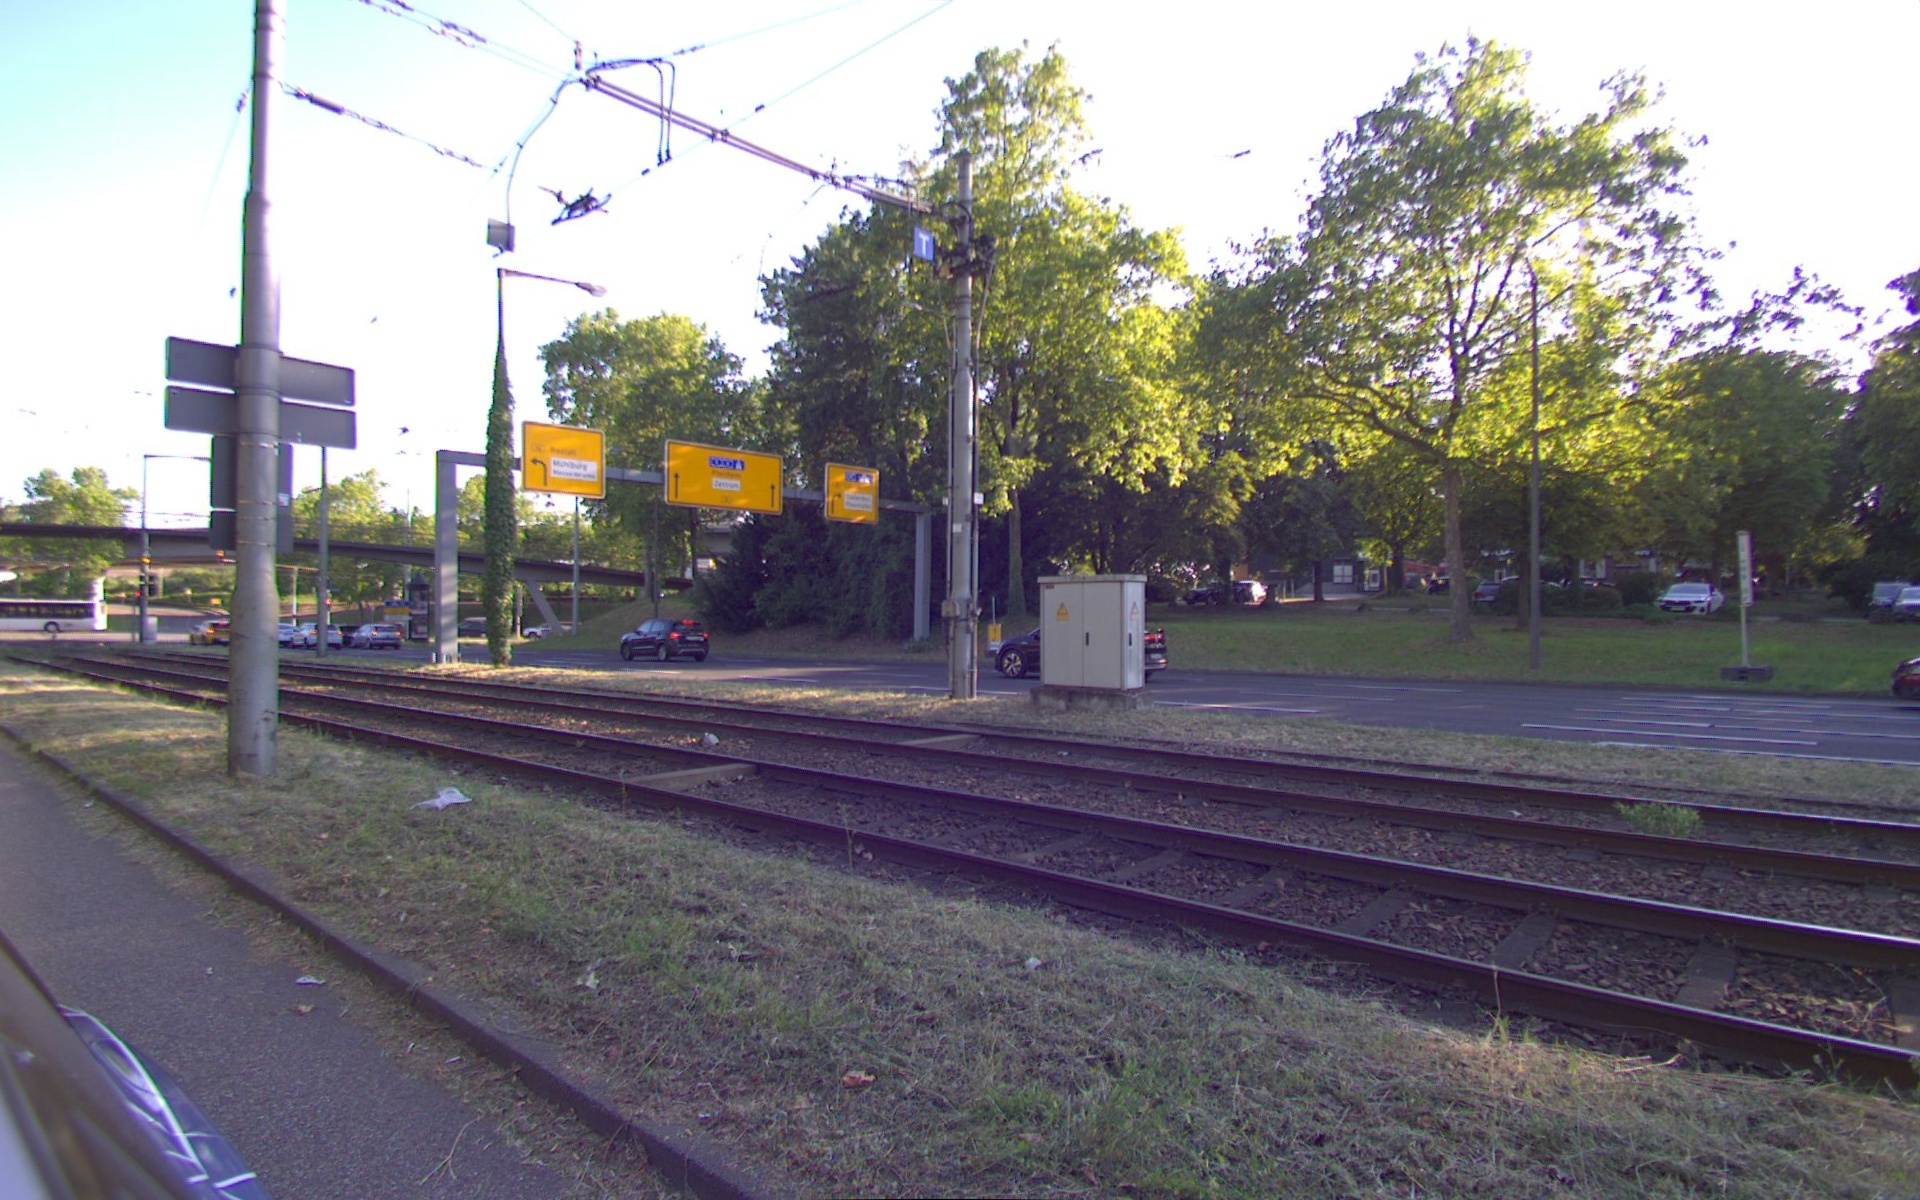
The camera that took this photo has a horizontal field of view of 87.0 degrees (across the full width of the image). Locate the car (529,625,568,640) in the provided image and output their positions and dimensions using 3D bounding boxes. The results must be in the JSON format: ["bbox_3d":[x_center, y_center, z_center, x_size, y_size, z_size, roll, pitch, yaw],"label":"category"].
[{"bbox_3d":[-45.207,3.542,111.133,3.810,1.421,1.817,-1,0,-30],"label":"car"}]

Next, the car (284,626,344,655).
[{"bbox_3d":[-35.735,2.205,55.952,3.997,1.556,1.744,-1,-1,40],"label":"car"}]

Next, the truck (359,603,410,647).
[{"bbox_3d":[-40.296,1.742,70.764,2.248,2.901,6.895,0,-1,-37],"label":"truck"}]

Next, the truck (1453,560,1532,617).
[{"bbox_3d":[31.750,-0.676,60.278,2.503,3.191,6.137,0,0,45],"label":"truck"}]

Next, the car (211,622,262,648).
[{"bbox_3d":[-45.831,2.183,64.041,4.228,1.561,1.892,-1,-2,44],"label":"car"}]

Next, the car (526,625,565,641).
[{"bbox_3d":[-43.957,3.495,107.310,3.747,1.591,1.683,-1,0,-26],"label":"car"}]

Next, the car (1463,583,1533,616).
[{"bbox_3d":[26.176,-0.034,49.179,1.942,1.521,4.039,0,0,44],"label":"car"}]

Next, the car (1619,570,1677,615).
[{"bbox_3d":[36.892,-0.388,54.232,2.161,2.320,4.348,0,0,40],"label":"car"}]

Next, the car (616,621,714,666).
[{"bbox_3d":[-10.993,1.591,37.569,3.973,1.569,1.732,-2,-3,44],"label":"car"}]

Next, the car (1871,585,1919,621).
[{"bbox_3d":[43.975,0.107,47.218,3.998,1.628,1.864,-1,0,-43],"label":"car"}]

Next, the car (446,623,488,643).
[{"bbox_3d":[-50.684,3.384,103.967,3.748,1.872,1.682,-1,0,-30],"label":"car"}]

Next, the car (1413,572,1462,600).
[{"bbox_3d":[33.564,-0.981,71.054,2.290,1.864,5.214,-1,1,34],"label":"car"}]

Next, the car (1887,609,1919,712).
[{"bbox_3d":[17.704,0.974,15.926,4.298,1.647,1.822,-1,-2,33],"label":"car"}]

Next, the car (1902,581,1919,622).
[{"bbox_3d":[37.586,0.047,38.886,1.942,1.521,4.039,0,0,44],"label":"car"}]

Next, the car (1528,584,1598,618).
[{"bbox_3d":[28.432,0.026,47.650,1.942,1.521,4.039,0,0,44],"label":"car"}]

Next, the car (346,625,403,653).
[{"bbox_3d":[-34.955,2.297,60.409,3.998,1.556,1.789,-1,-1,41],"label":"car"}]

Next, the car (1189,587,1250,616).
[{"bbox_3d":[15.402,0.071,59.951,1.791,1.657,3.942,-1,-1,44],"label":"car"}]

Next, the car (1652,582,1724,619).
[{"bbox_3d":[31.568,0.013,43.838,1.942,1.521,4.039,0,0,44],"label":"car"}]

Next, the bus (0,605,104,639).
[{"bbox_3d":[-84.747,1.967,89.914,12.967,2.884,2.424,-1,0,-29],"label":"bus"}]

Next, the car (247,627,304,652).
[{"bbox_3d":[-40.568,2.321,59.951,4.226,1.435,1.893,-1,-1,42],"label":"car"}]

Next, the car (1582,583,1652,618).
[{"bbox_3d":[30.041,0.017,46.213,1.942,1.521,4.039,0,0,44],"label":"car"}]

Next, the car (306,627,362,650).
[{"bbox_3d":[-39.756,2.424,64.225,4.224,1.435,1.844,-1,-1,40],"label":"car"}]

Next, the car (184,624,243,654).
[{"bbox_3d":[-40.798,2.123,55.252,3.997,1.556,1.744,-1,-1,40],"label":"car"}]

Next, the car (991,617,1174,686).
[{"bbox_3d":[2.987,1.224,25.176,4.332,1.556,1.713,-1,-2,41],"label":"car"}]
